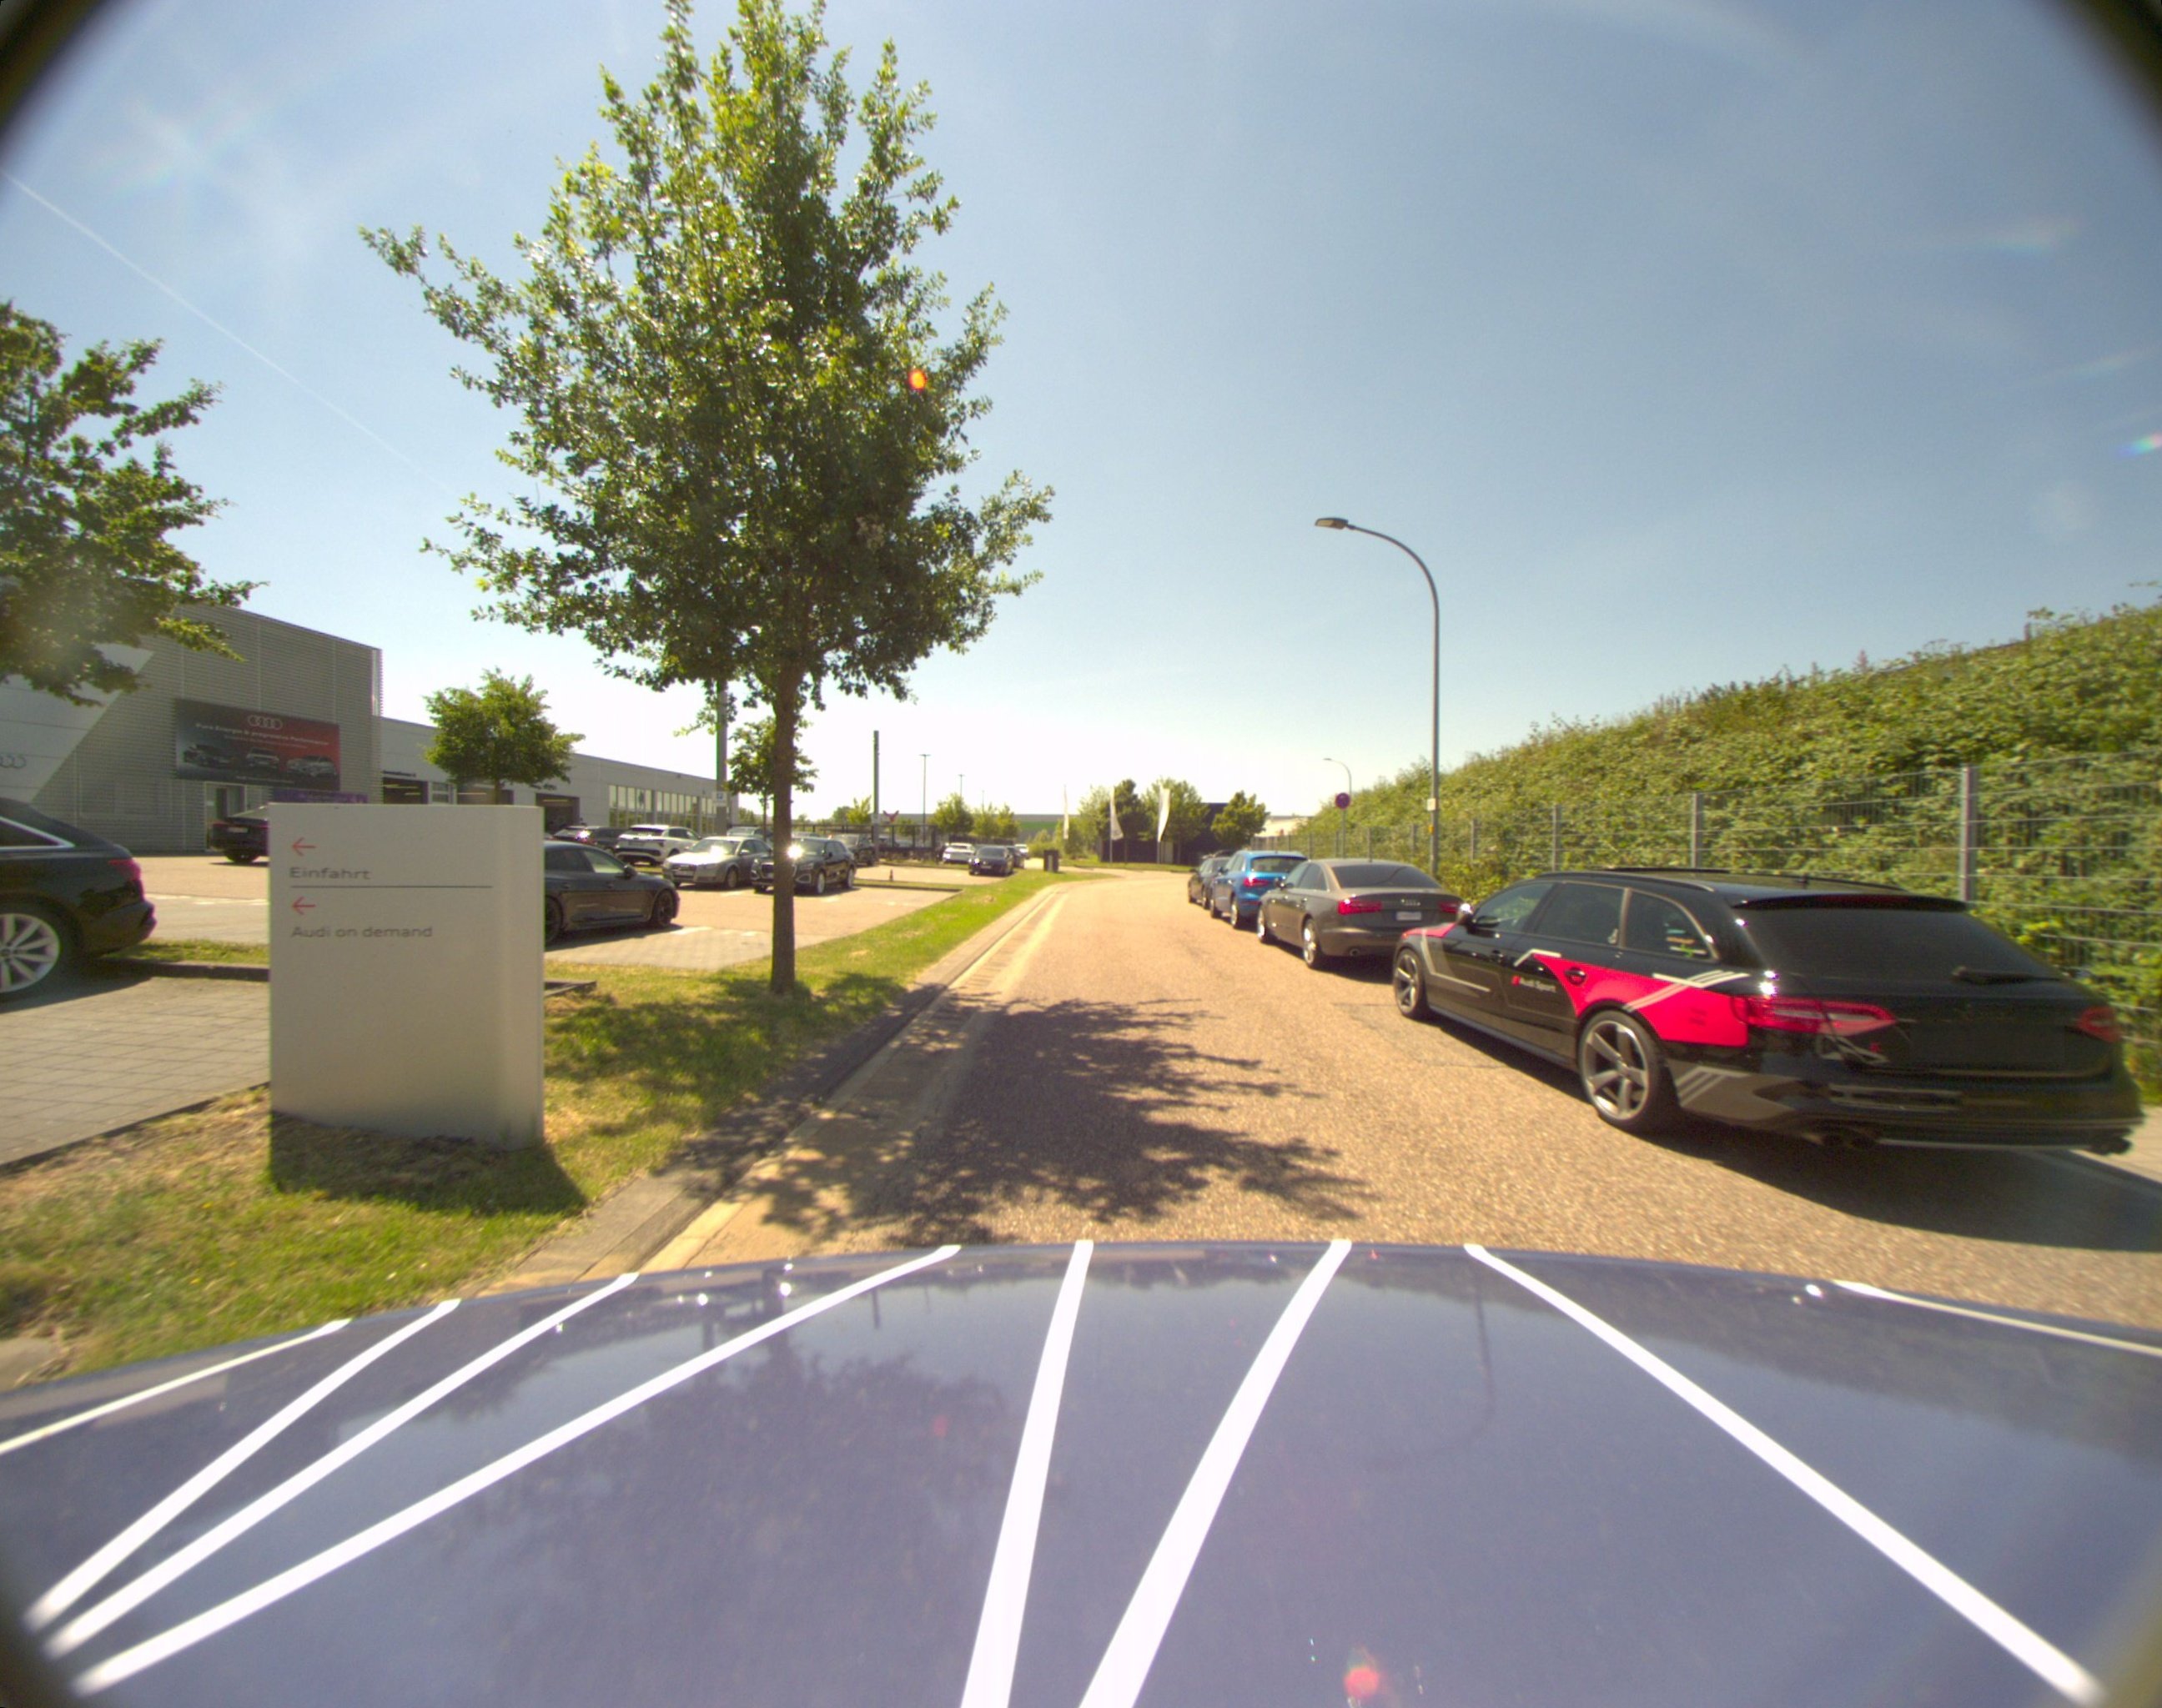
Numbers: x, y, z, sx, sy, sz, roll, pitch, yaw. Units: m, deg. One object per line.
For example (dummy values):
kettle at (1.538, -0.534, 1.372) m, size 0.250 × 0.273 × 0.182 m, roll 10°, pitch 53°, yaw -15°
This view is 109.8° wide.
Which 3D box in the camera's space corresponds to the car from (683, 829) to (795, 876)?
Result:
car at (-12.833, -0.065, 28.926) m, size 1.966 × 1.544 × 5.005 m, roll 2°, pitch 1°, yaw 0°

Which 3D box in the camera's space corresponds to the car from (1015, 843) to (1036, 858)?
car at (-6.282, -0.403, 86.690) m, size 1.823 × 1.637 × 4.396 m, roll 2°, pitch 1°, yaw 3°

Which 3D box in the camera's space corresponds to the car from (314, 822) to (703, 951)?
car at (-7.719, 0.395, 11.038) m, size 1.966 × 1.358 × 4.721 m, roll 3°, pitch -1°, yaw 1°

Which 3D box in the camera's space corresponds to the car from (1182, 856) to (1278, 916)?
car at (4.132, 0.828, 21.766) m, size 1.829 × 1.446 × 4.580 m, roll 1°, pitch 1°, yaw 0°

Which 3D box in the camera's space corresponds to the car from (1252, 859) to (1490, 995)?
car at (3.875, 0.862, 11.094) m, size 1.829 × 1.491 × 4.520 m, roll 1°, pitch 1°, yaw 1°

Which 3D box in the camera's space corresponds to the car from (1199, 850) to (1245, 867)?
car at (13.796, 0.445, 74.361) m, size 4.169 × 1.558 × 1.780 m, roll 2°, pitch 1°, yaw 0°

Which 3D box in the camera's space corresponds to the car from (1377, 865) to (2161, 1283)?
car at (3.778, 0.879, 5.171) m, size 1.829 × 1.491 × 4.520 m, roll 1°, pitch 1°, yaw 1°

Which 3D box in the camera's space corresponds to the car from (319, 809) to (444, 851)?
car at (-34.158, -1.147, 37.183) m, size 4.249 × 1.732 × 1.968 m, roll 4°, pitch 1°, yaw 2°

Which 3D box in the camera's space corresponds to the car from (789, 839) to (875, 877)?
car at (-9.867, 0.158, 30.493) m, size 1.966 × 1.367 × 4.311 m, roll 2°, pitch 0°, yaw 0°

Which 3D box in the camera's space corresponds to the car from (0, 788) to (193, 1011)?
car at (-7.994, 0.318, 3.468) m, size 1.966 × 1.448 × 4.984 m, roll 2°, pitch 2°, yaw 1°

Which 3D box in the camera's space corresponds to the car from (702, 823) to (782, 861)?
car at (-17.570, -0.620, 39.646) m, size 1.966 × 1.732 × 4.625 m, roll 4°, pitch 1°, yaw 0°

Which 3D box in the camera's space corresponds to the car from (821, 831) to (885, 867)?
car at (-11.888, -0.286, 39.939) m, size 1.829 × 1.634 × 4.784 m, roll 4°, pitch 1°, yaw 0°

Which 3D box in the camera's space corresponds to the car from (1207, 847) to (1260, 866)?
car at (13.386, 0.191, 66.917) m, size 4.280 × 1.592 × 1.780 m, roll -1°, pitch 1°, yaw 0°

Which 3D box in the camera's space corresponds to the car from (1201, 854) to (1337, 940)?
car at (3.872, 0.811, 16.424) m, size 1.829 × 1.561 × 4.386 m, roll 1°, pitch 1°, yaw 0°

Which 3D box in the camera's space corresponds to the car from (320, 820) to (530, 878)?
car at (-18.084, -0.143, 21.293) m, size 1.966 × 1.358 × 4.466 m, roll 4°, pitch 1°, yaw 0°

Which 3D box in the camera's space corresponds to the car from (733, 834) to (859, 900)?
car at (-7.877, 0.307, 21.470) m, size 1.892 × 1.562 × 4.227 m, roll 4°, pitch 1°, yaw 0°

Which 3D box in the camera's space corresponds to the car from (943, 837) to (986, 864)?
car at (-7.083, -0.238, 46.712) m, size 1.824 × 1.520 × 4.944 m, roll 2°, pitch 1°, yaw 0°

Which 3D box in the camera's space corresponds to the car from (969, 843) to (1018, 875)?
car at (-4.468, 0.240, 39.588) m, size 1.884 × 1.446 × 5.023 m, roll 3°, pitch 0°, yaw 0°

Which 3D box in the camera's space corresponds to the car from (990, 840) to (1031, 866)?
car at (-4.253, -0.081, 46.391) m, size 1.966 × 1.459 × 4.944 m, roll 2°, pitch 1°, yaw 0°

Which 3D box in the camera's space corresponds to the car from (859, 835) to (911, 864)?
car at (-11.995, -0.280, 46.851) m, size 1.966 × 1.620 × 4.625 m, roll 2°, pitch 1°, yaw 0°

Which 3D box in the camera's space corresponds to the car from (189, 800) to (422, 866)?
car at (-21.916, -0.558, 21.793) m, size 1.966 × 1.582 × 4.428 m, roll 4°, pitch 1°, yaw 3°

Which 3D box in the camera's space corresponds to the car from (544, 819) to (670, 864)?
car at (-17.590, -0.449, 28.504) m, size 1.966 × 1.468 × 4.372 m, roll 2°, pitch 1°, yaw 0°

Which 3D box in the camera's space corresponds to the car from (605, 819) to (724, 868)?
car at (-15.091, -0.368, 27.840) m, size 1.966 × 1.604 × 4.288 m, roll 2°, pitch 1°, yaw 0°

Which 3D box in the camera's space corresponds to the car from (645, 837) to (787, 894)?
car at (-10.234, 0.276, 21.698) m, size 1.966 × 1.358 × 4.227 m, roll 4°, pitch 1°, yaw 0°

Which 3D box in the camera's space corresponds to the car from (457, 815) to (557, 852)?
car at (-31.969, -1.123, 42.387) m, size 4.247 × 1.732 × 1.969 m, roll 4°, pitch 1°, yaw 8°

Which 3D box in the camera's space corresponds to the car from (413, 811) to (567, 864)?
car at (-21.683, -0.568, 28.172) m, size 1.966 × 1.729 × 4.728 m, roll 2°, pitch 1°, yaw 0°

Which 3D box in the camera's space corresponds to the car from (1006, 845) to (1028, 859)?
car at (-6.757, -0.224, 80.700) m, size 1.778 × 1.349 × 4.172 m, roll 2°, pitch 1°, yaw 3°

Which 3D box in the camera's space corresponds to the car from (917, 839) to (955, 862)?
car at (-11.073, -0.271, 58.428) m, size 1.966 × 1.620 × 4.625 m, roll 2°, pitch 1°, yaw 0°
